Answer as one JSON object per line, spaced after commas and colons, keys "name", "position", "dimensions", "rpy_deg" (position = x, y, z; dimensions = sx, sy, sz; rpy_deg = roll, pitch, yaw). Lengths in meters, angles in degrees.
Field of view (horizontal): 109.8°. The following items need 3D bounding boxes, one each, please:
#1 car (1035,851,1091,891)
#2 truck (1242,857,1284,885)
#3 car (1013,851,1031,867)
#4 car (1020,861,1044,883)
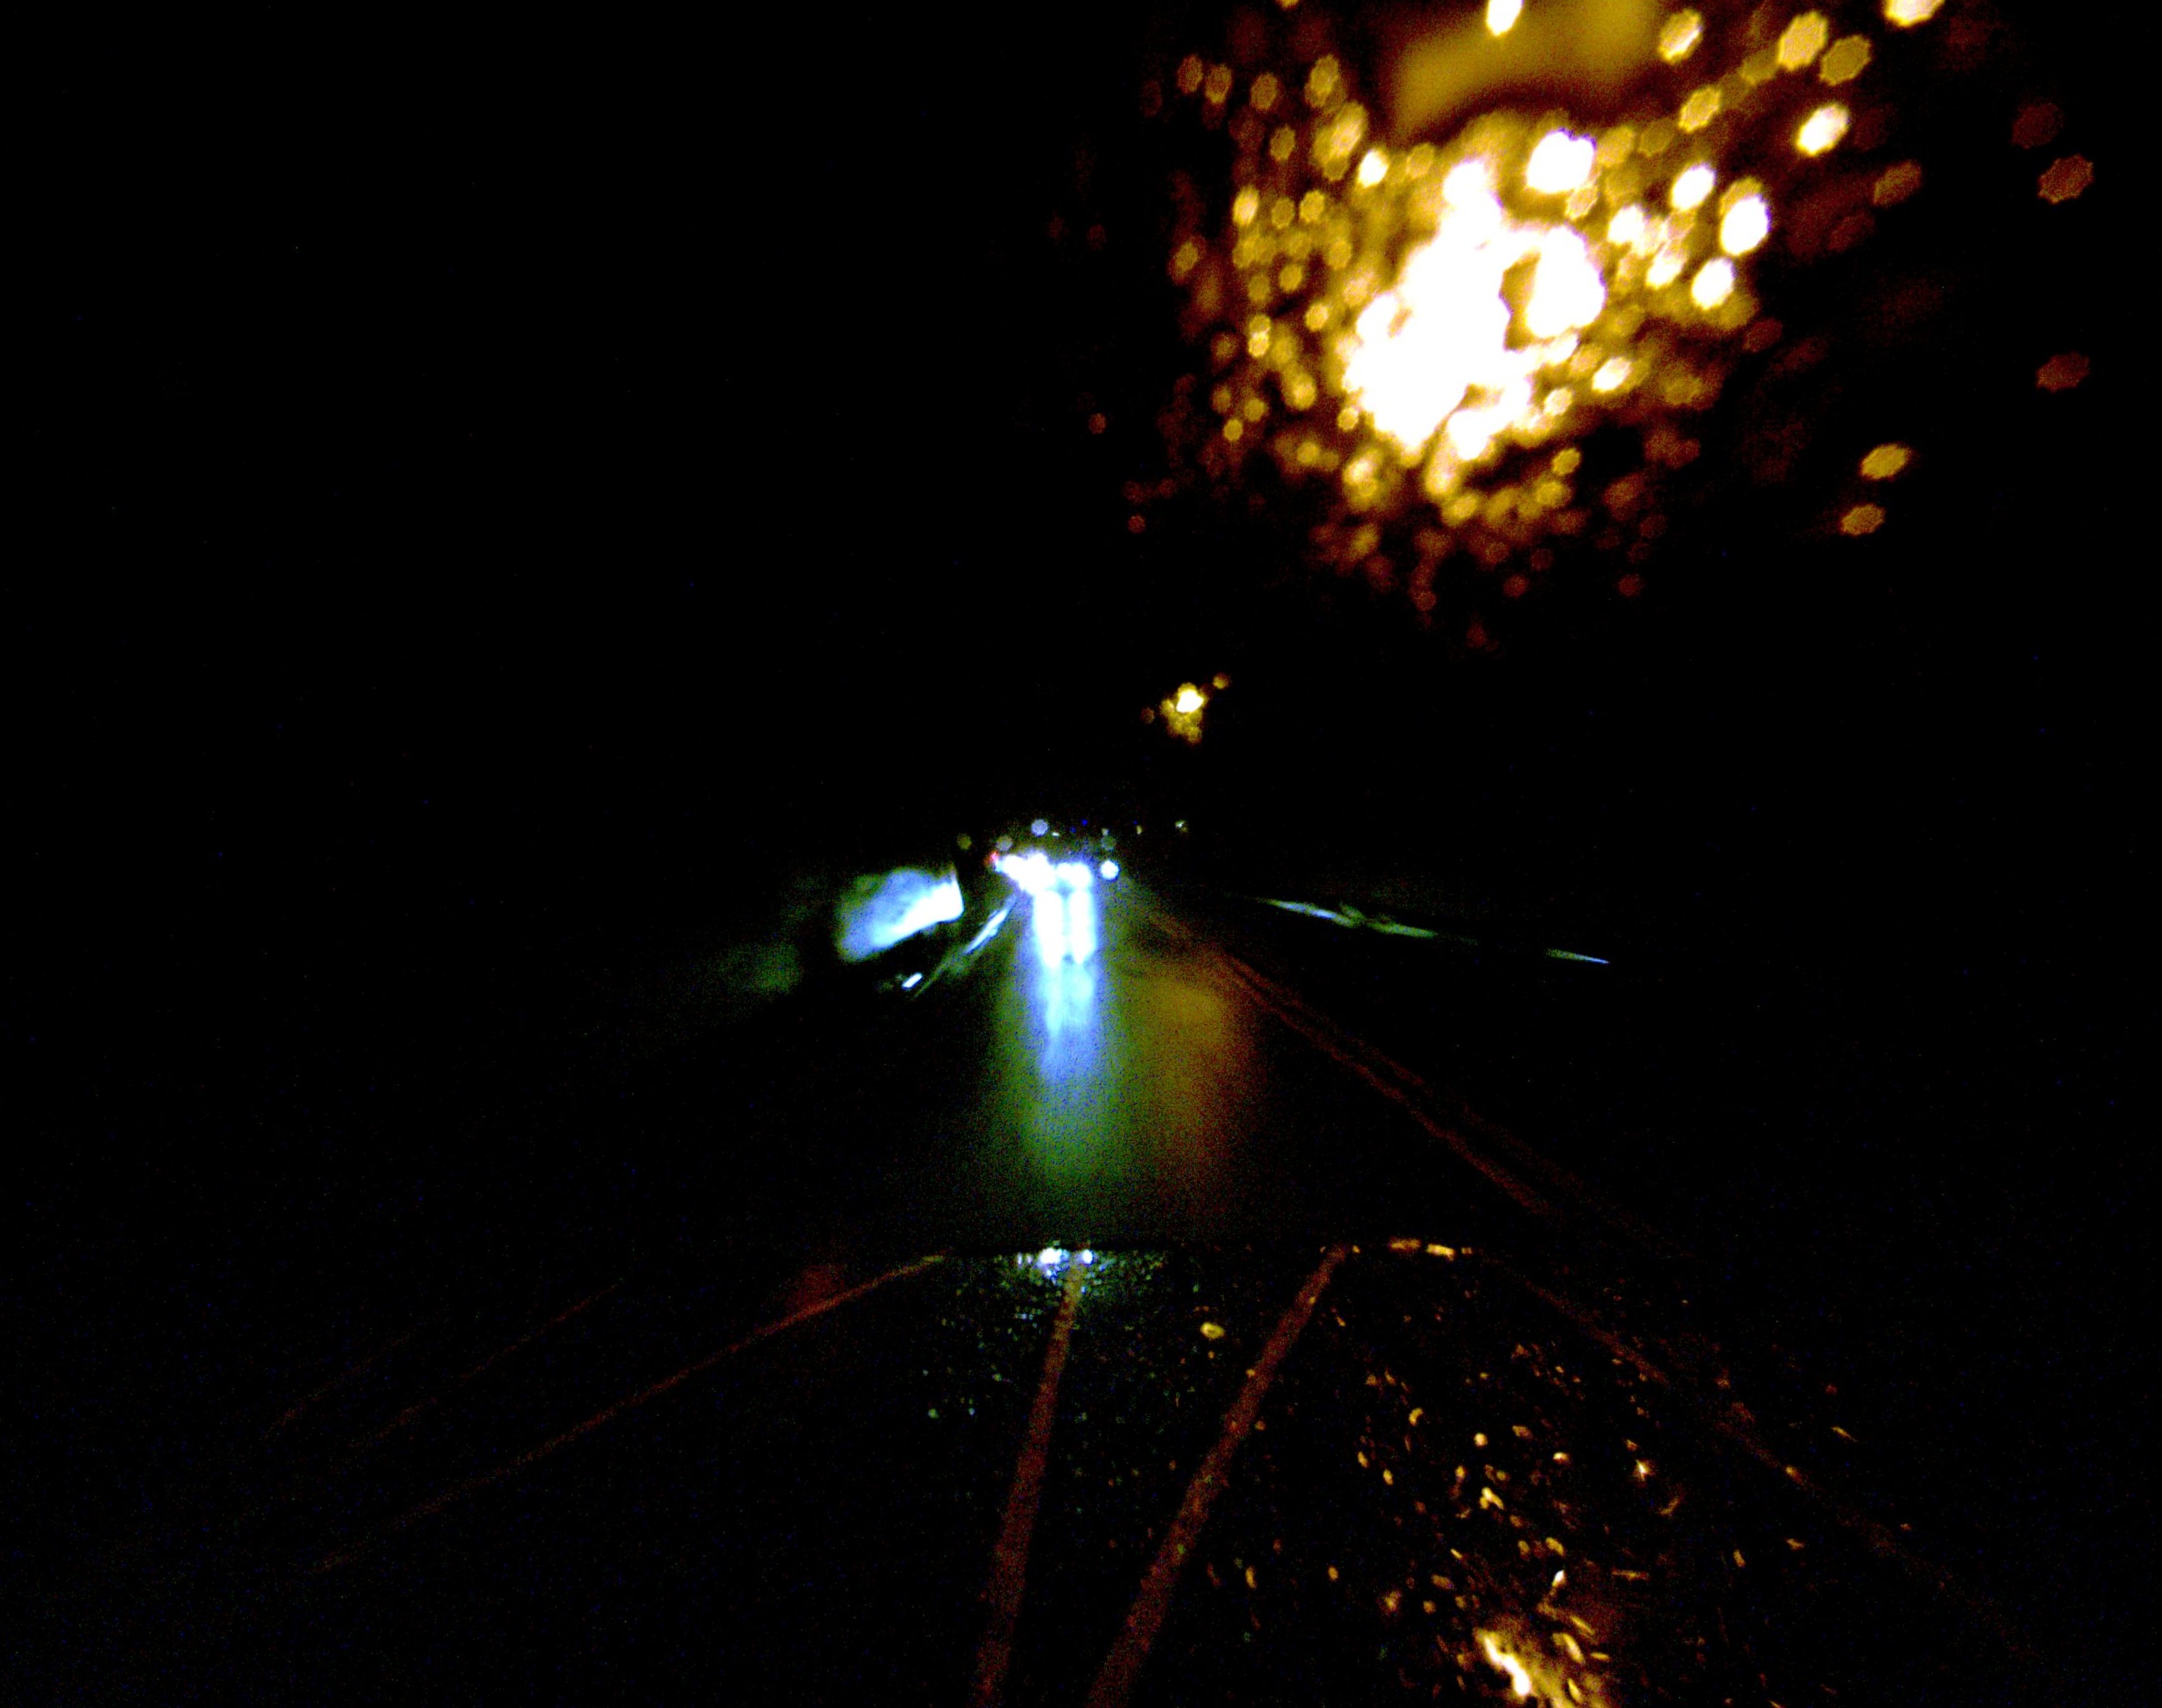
{"name": "car", "position": [-0.920, 0.755, 36.083], "dimensions": [2.000, 1.585, 4.603], "rpy_deg": [-2, 2, -10]}
{"name": "truck", "position": [25.009, 2.301, 104.731], "dimensions": [2.476, 3.460, 7.041], "rpy_deg": [3, 0, -14]}
{"name": "car", "position": [-7.220, 0.611, 92.419], "dimensions": [1.710, 1.762, 3.995], "rpy_deg": [-2, 1, -11]}
{"name": "car", "position": [-4.894, 1.750, 74.828], "dimensions": [1.900, 2.002, 3.996], "rpy_deg": [-2, 1, -9]}
